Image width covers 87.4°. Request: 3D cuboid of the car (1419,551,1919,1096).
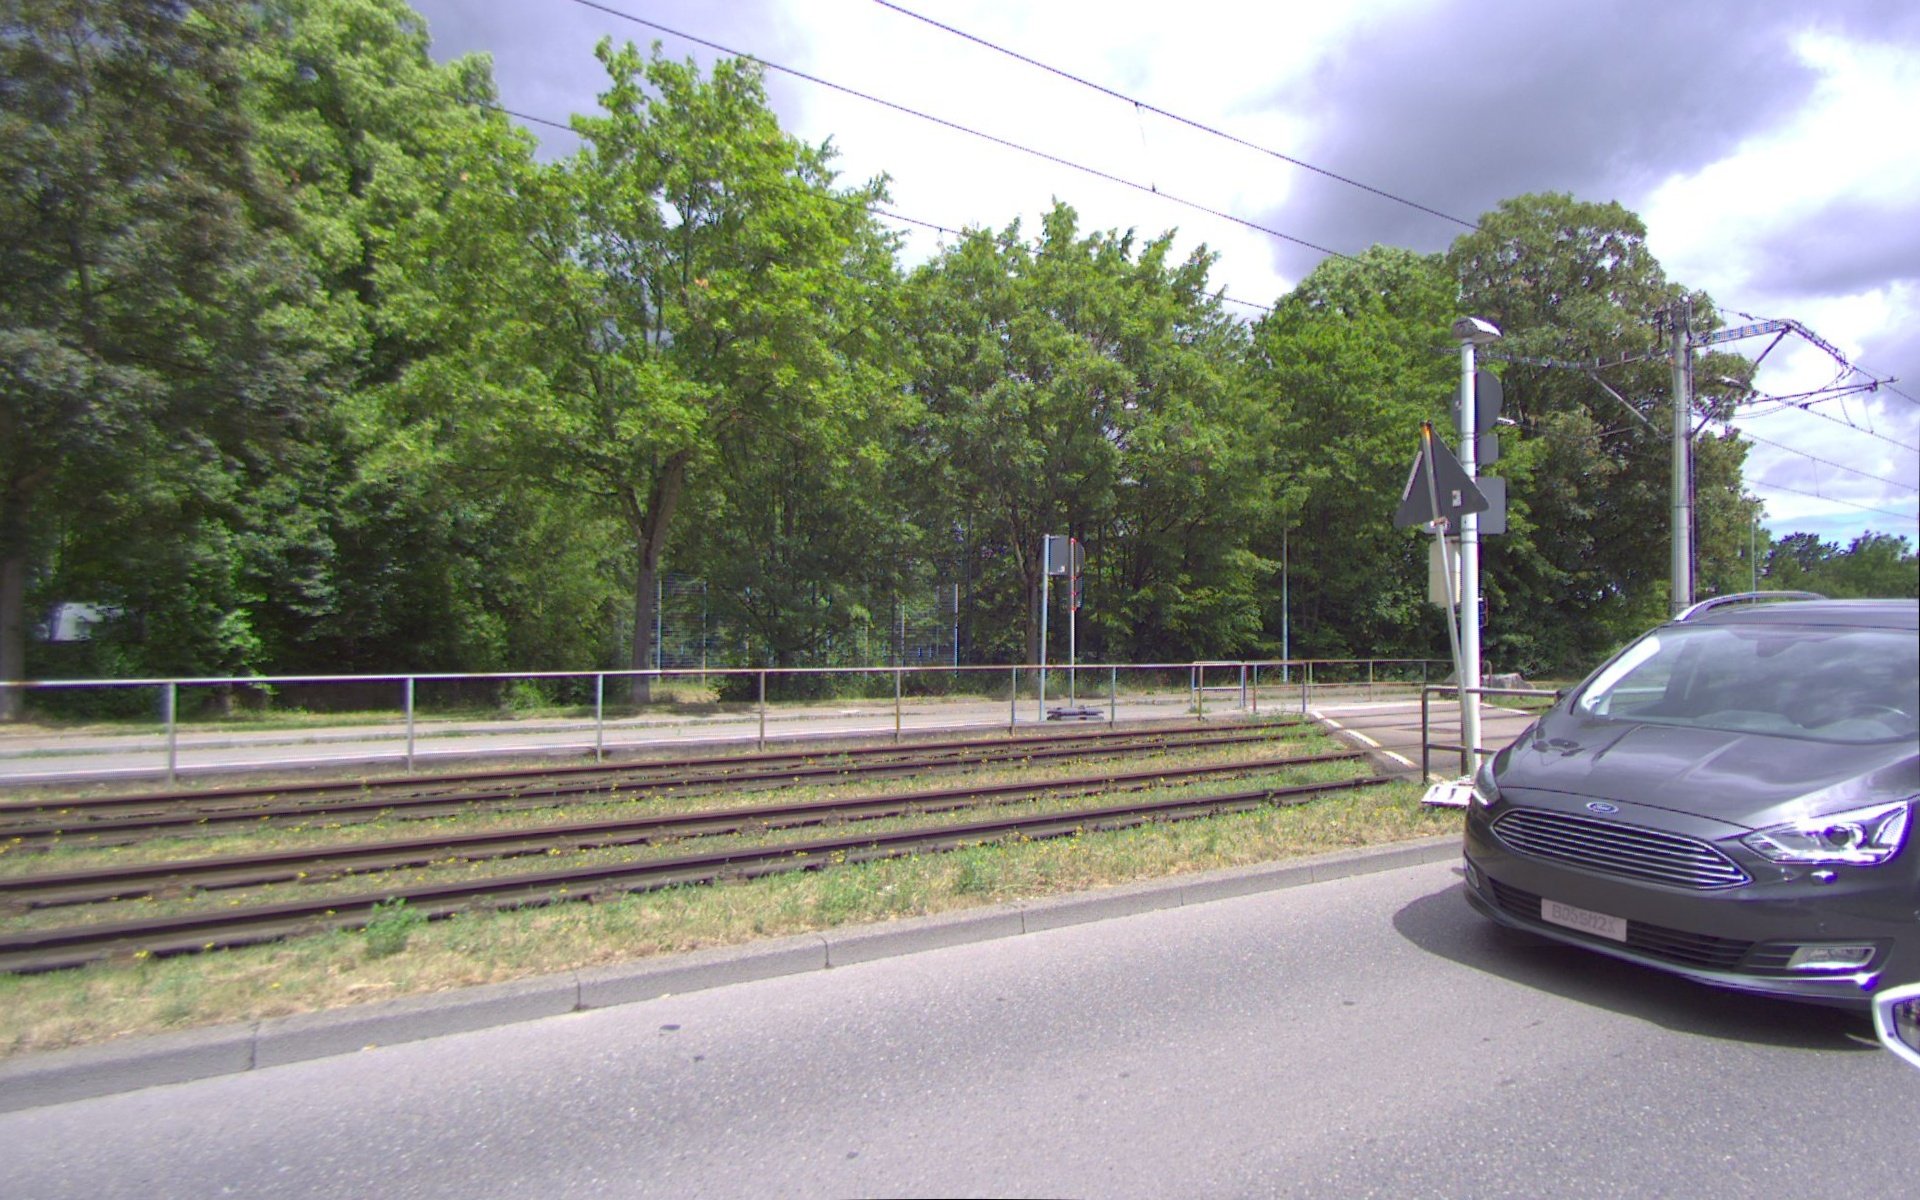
[{"bbox_3d":[4.324,0.748,4.963,4.180,1.698,1.698,2,-1,-32],"label":"car"}]
